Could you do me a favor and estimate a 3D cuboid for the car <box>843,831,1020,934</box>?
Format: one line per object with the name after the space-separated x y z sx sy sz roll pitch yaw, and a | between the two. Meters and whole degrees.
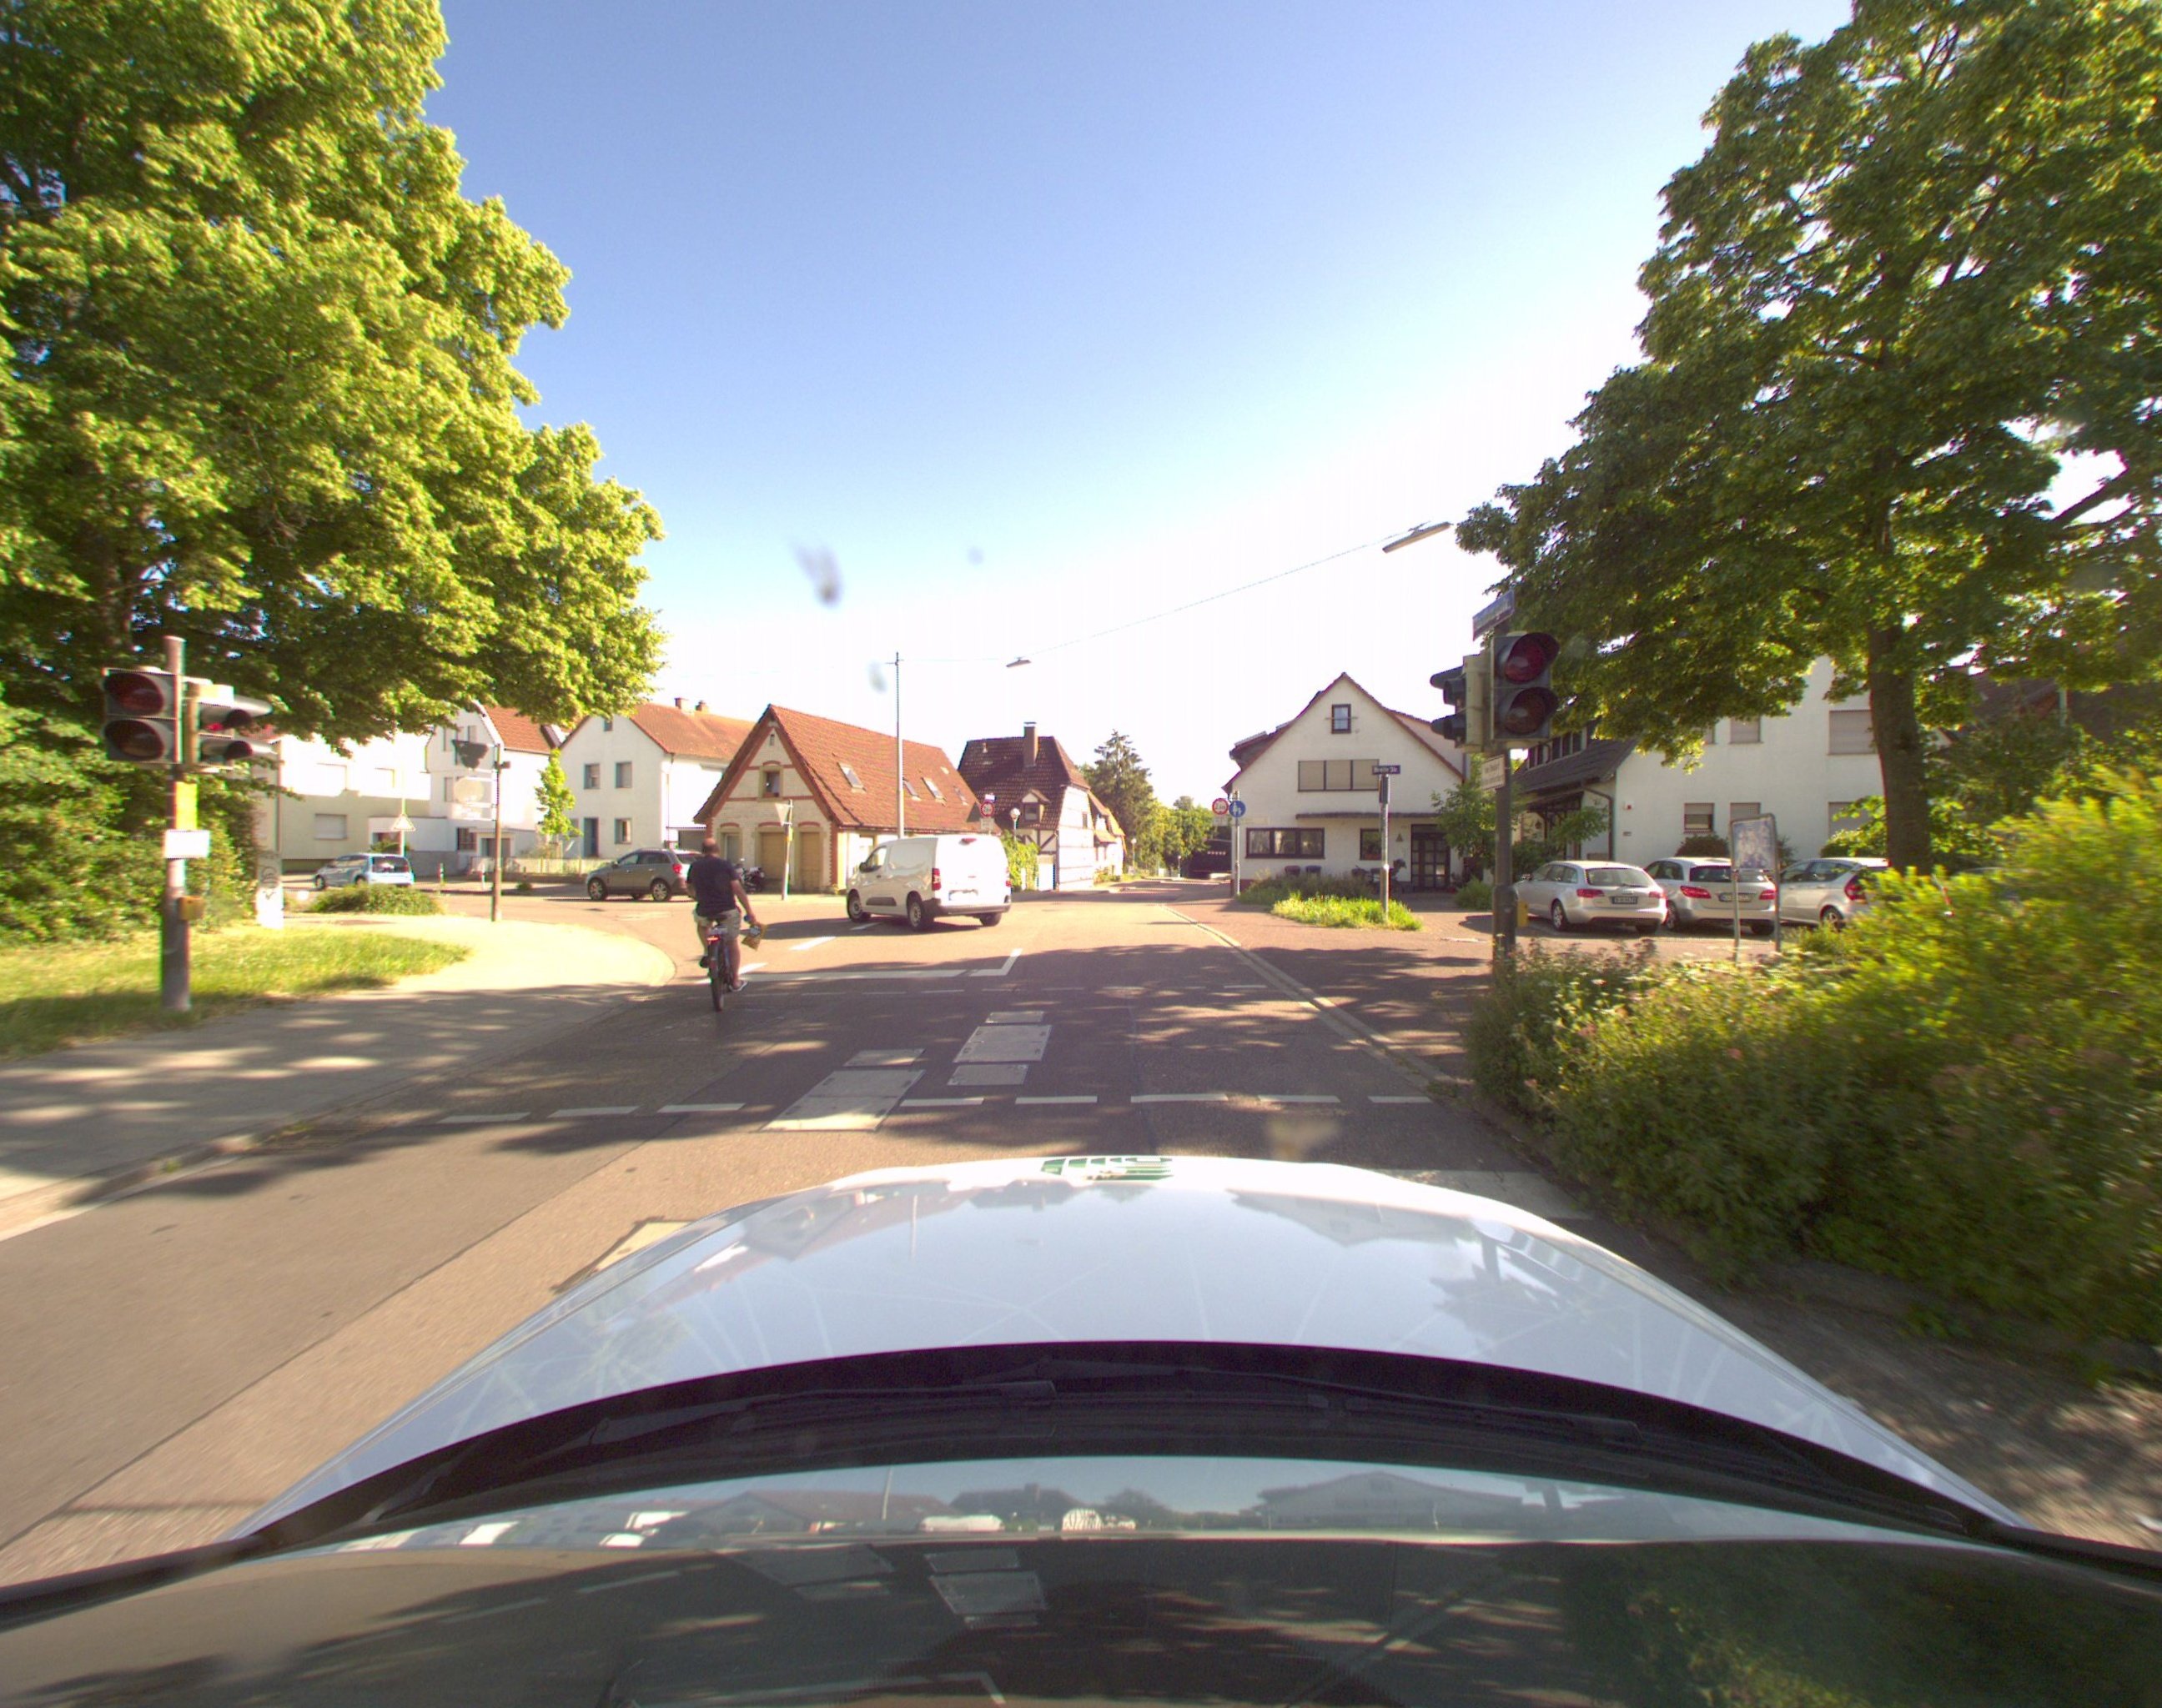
-3.272 0.488 17.083 1.972 1.848 4.511 -1 1 -35 | car

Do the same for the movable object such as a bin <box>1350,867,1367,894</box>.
10.295 0.979 30.217 0.526 0.983 0.671 0 0 11 | movable object such as a bin

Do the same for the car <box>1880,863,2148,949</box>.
18.866 0.956 16.781 1.632 1.349 4.131 2 2 16 | car

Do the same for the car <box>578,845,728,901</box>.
-14.103 0.616 26.875 4.186 1.725 1.954 0 -1 19 | car

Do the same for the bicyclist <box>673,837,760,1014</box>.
-3.889 0.719 8.749 0.767 1.789 0.847 0 0 -19 | bicyclist

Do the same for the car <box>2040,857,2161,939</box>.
21.424 0.849 15.940 1.584 1.474 3.826 0 1 16 | car

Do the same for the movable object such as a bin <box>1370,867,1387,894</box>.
10.982 0.971 30.039 0.495 0.976 0.596 0 0 11 | movable object such as a bin

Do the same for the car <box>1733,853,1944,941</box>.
16.222 0.811 17.763 1.694 1.551 4.425 1 2 19 | car

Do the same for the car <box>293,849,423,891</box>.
-28.543 0.615 32.168 4.186 1.549 1.955 0 0 18 | car

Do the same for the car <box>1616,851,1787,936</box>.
13.614 0.764 18.187 1.694 1.517 4.425 1 2 19 | car

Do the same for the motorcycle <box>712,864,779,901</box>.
-12.513 1.049 30.371 2.223 1.295 0.887 0 2 20 | motorcycle

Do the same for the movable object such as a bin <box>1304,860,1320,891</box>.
8.627 0.789 30.451 0.523 1.123 0.750 0 0 11 | movable object such as a bin

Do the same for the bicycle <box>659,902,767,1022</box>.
-3.883 1.073 8.772 0.777 0.940 2.276 -3 1 -18 | bicycle

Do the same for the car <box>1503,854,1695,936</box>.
11.210 0.793 18.098 1.981 1.421 4.818 1 2 11 | car

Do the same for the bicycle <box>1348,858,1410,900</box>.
9.378 0.782 25.659 1.727 1.284 0.702 0 -1 9 | bicycle
